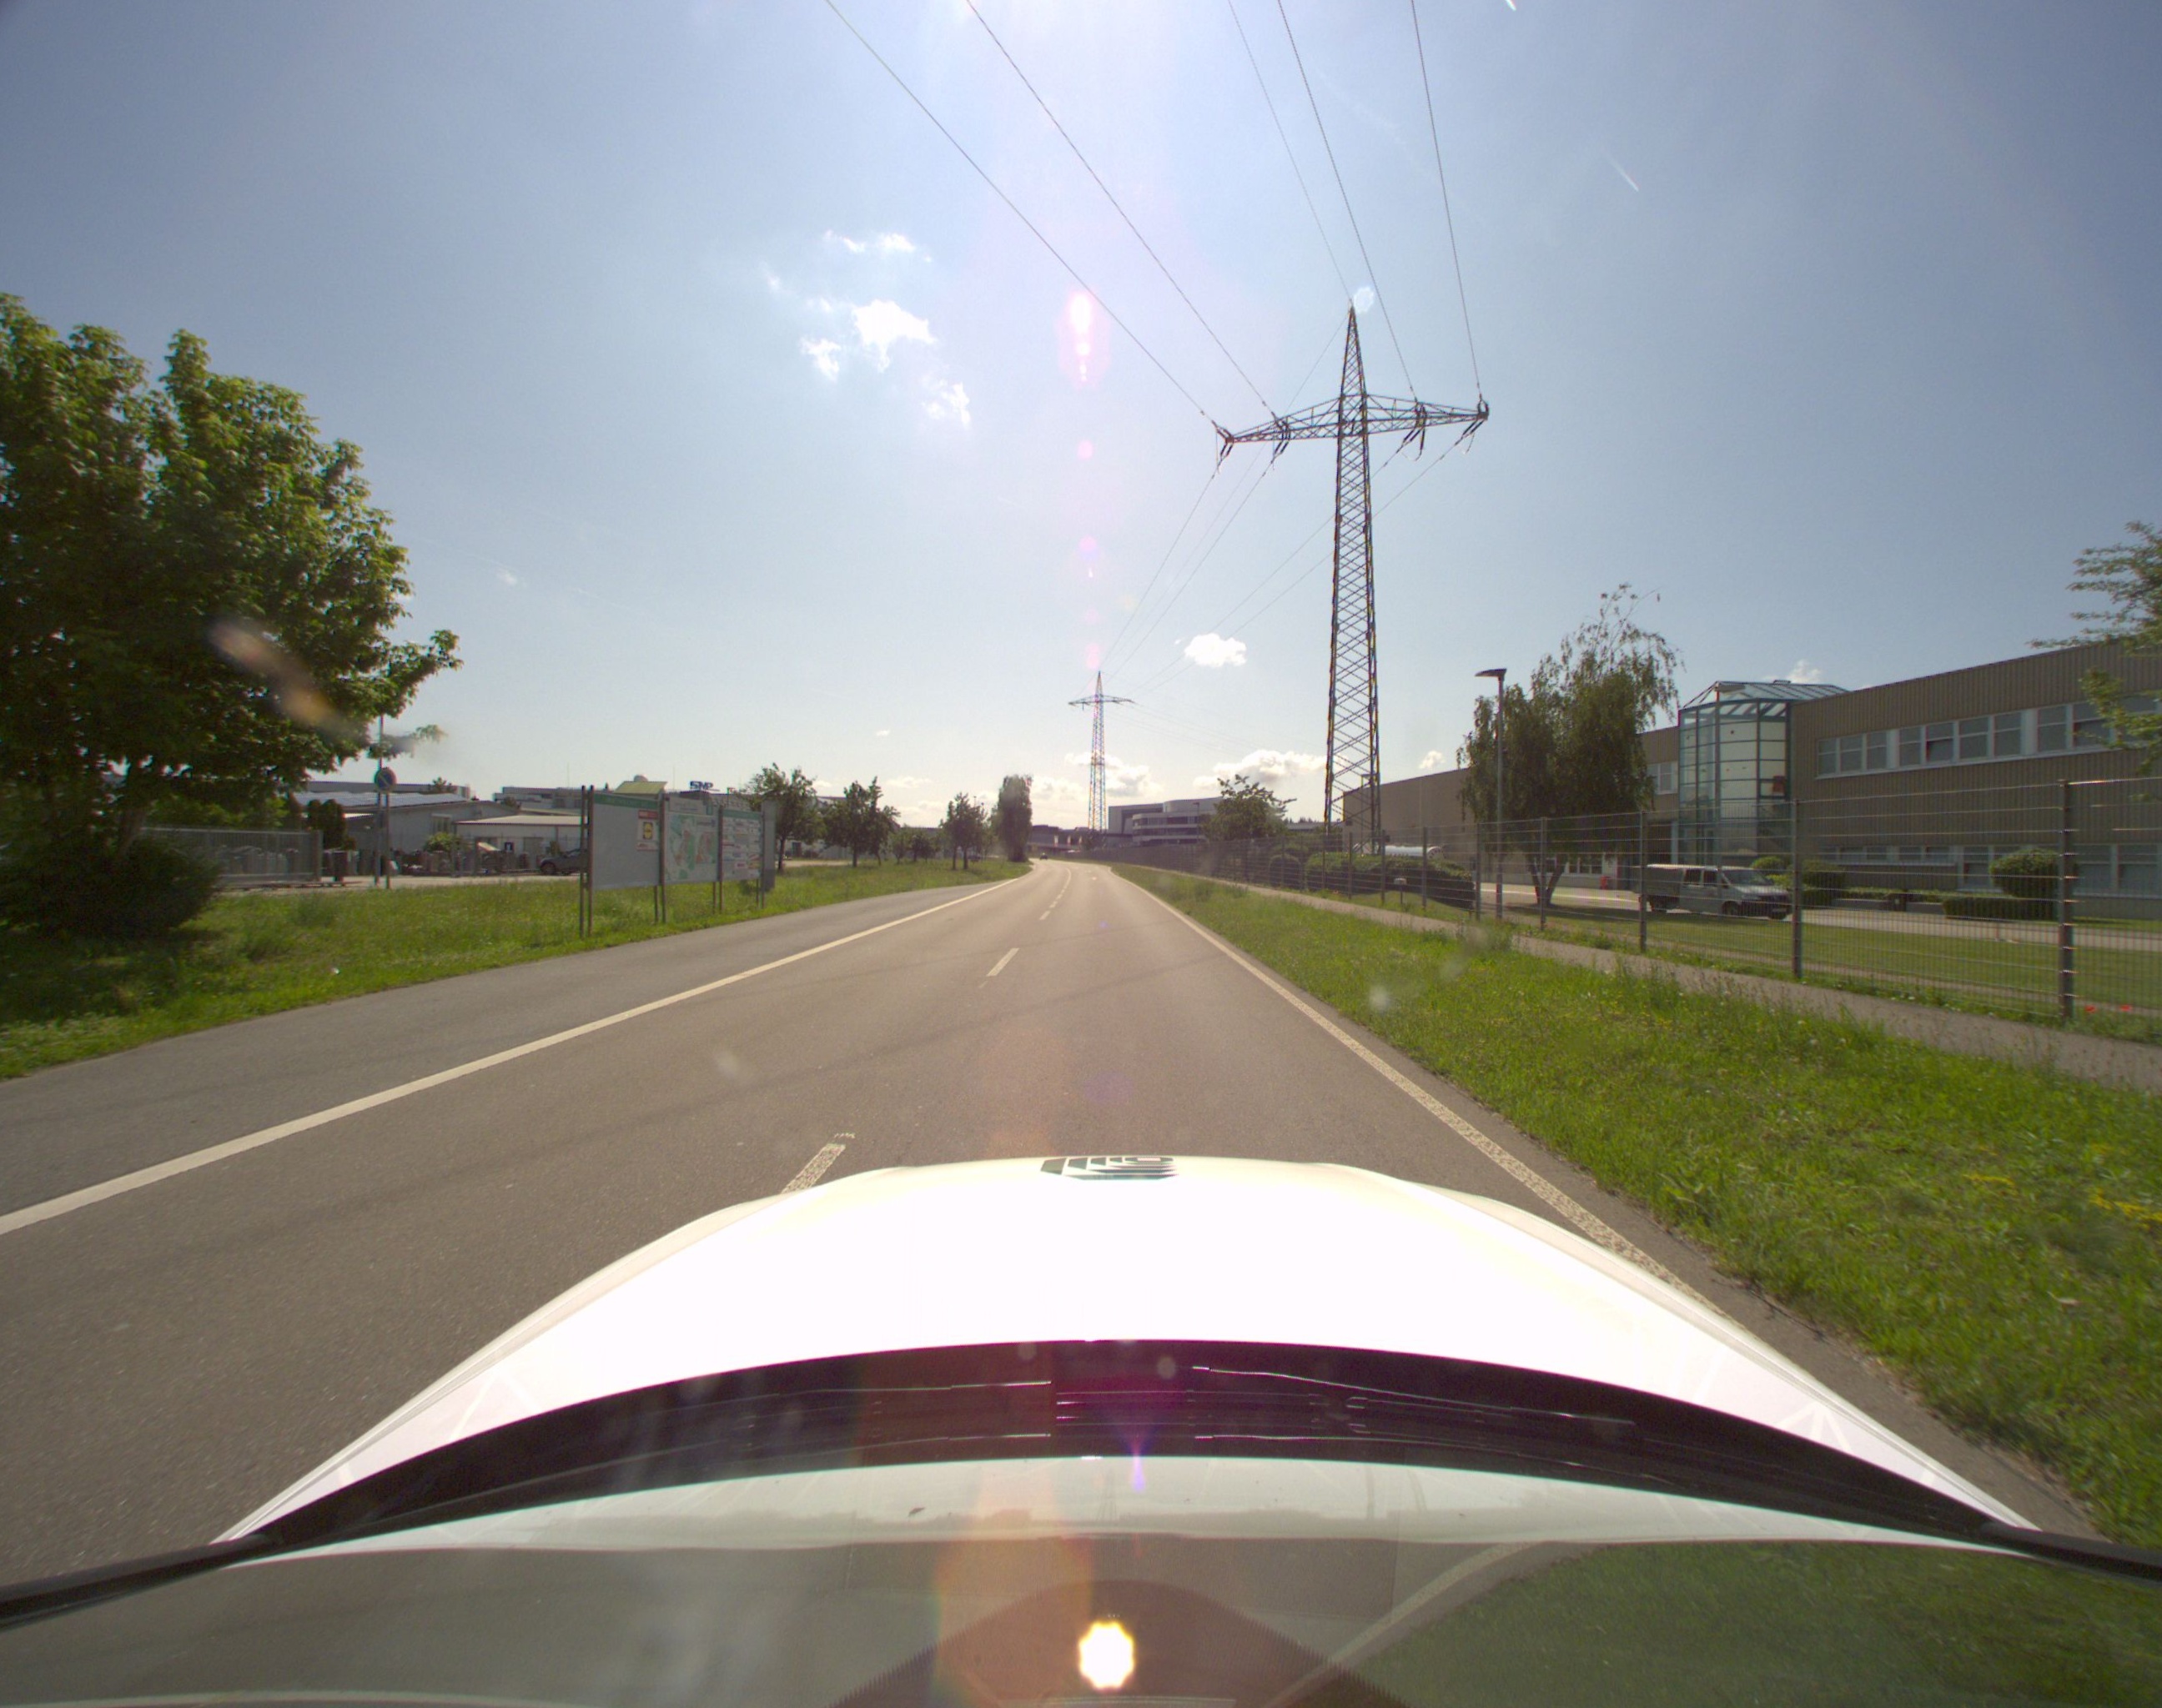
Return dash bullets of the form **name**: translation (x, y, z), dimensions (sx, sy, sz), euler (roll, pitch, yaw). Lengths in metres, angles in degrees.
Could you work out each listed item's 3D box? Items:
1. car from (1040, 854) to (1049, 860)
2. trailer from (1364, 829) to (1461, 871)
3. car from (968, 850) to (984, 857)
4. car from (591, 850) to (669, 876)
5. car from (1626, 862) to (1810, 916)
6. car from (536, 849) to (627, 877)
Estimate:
- **car**: translation (-9.035, 0.755, 200.810), dimensions (2.007, 1.508, 3.997), euler (1, 0, -2)
- **trailer**: translation (32.300, -0.396, 80.271), dimensions (3.586, 3.735, 12.212), euler (0, 0, -6)
- **car**: translation (-27.933, -0.126, 216.549), dimensions (3.983, 1.574, 1.995), euler (3, -1, -7)
- **car**: translation (-28.810, 0.565, 52.088), dimensions (3.981, 1.555, 1.663), euler (1, 0, -6)
- **car**: translation (23.809, 1.250, 30.812), dimensions (2.107, 1.779, 5.641), euler (1, 0, -7)
- **car**: translation (-28.943, 0.523, 47.331), dimensions (3.981, 1.528, 1.996), euler (1, 0, -6)
